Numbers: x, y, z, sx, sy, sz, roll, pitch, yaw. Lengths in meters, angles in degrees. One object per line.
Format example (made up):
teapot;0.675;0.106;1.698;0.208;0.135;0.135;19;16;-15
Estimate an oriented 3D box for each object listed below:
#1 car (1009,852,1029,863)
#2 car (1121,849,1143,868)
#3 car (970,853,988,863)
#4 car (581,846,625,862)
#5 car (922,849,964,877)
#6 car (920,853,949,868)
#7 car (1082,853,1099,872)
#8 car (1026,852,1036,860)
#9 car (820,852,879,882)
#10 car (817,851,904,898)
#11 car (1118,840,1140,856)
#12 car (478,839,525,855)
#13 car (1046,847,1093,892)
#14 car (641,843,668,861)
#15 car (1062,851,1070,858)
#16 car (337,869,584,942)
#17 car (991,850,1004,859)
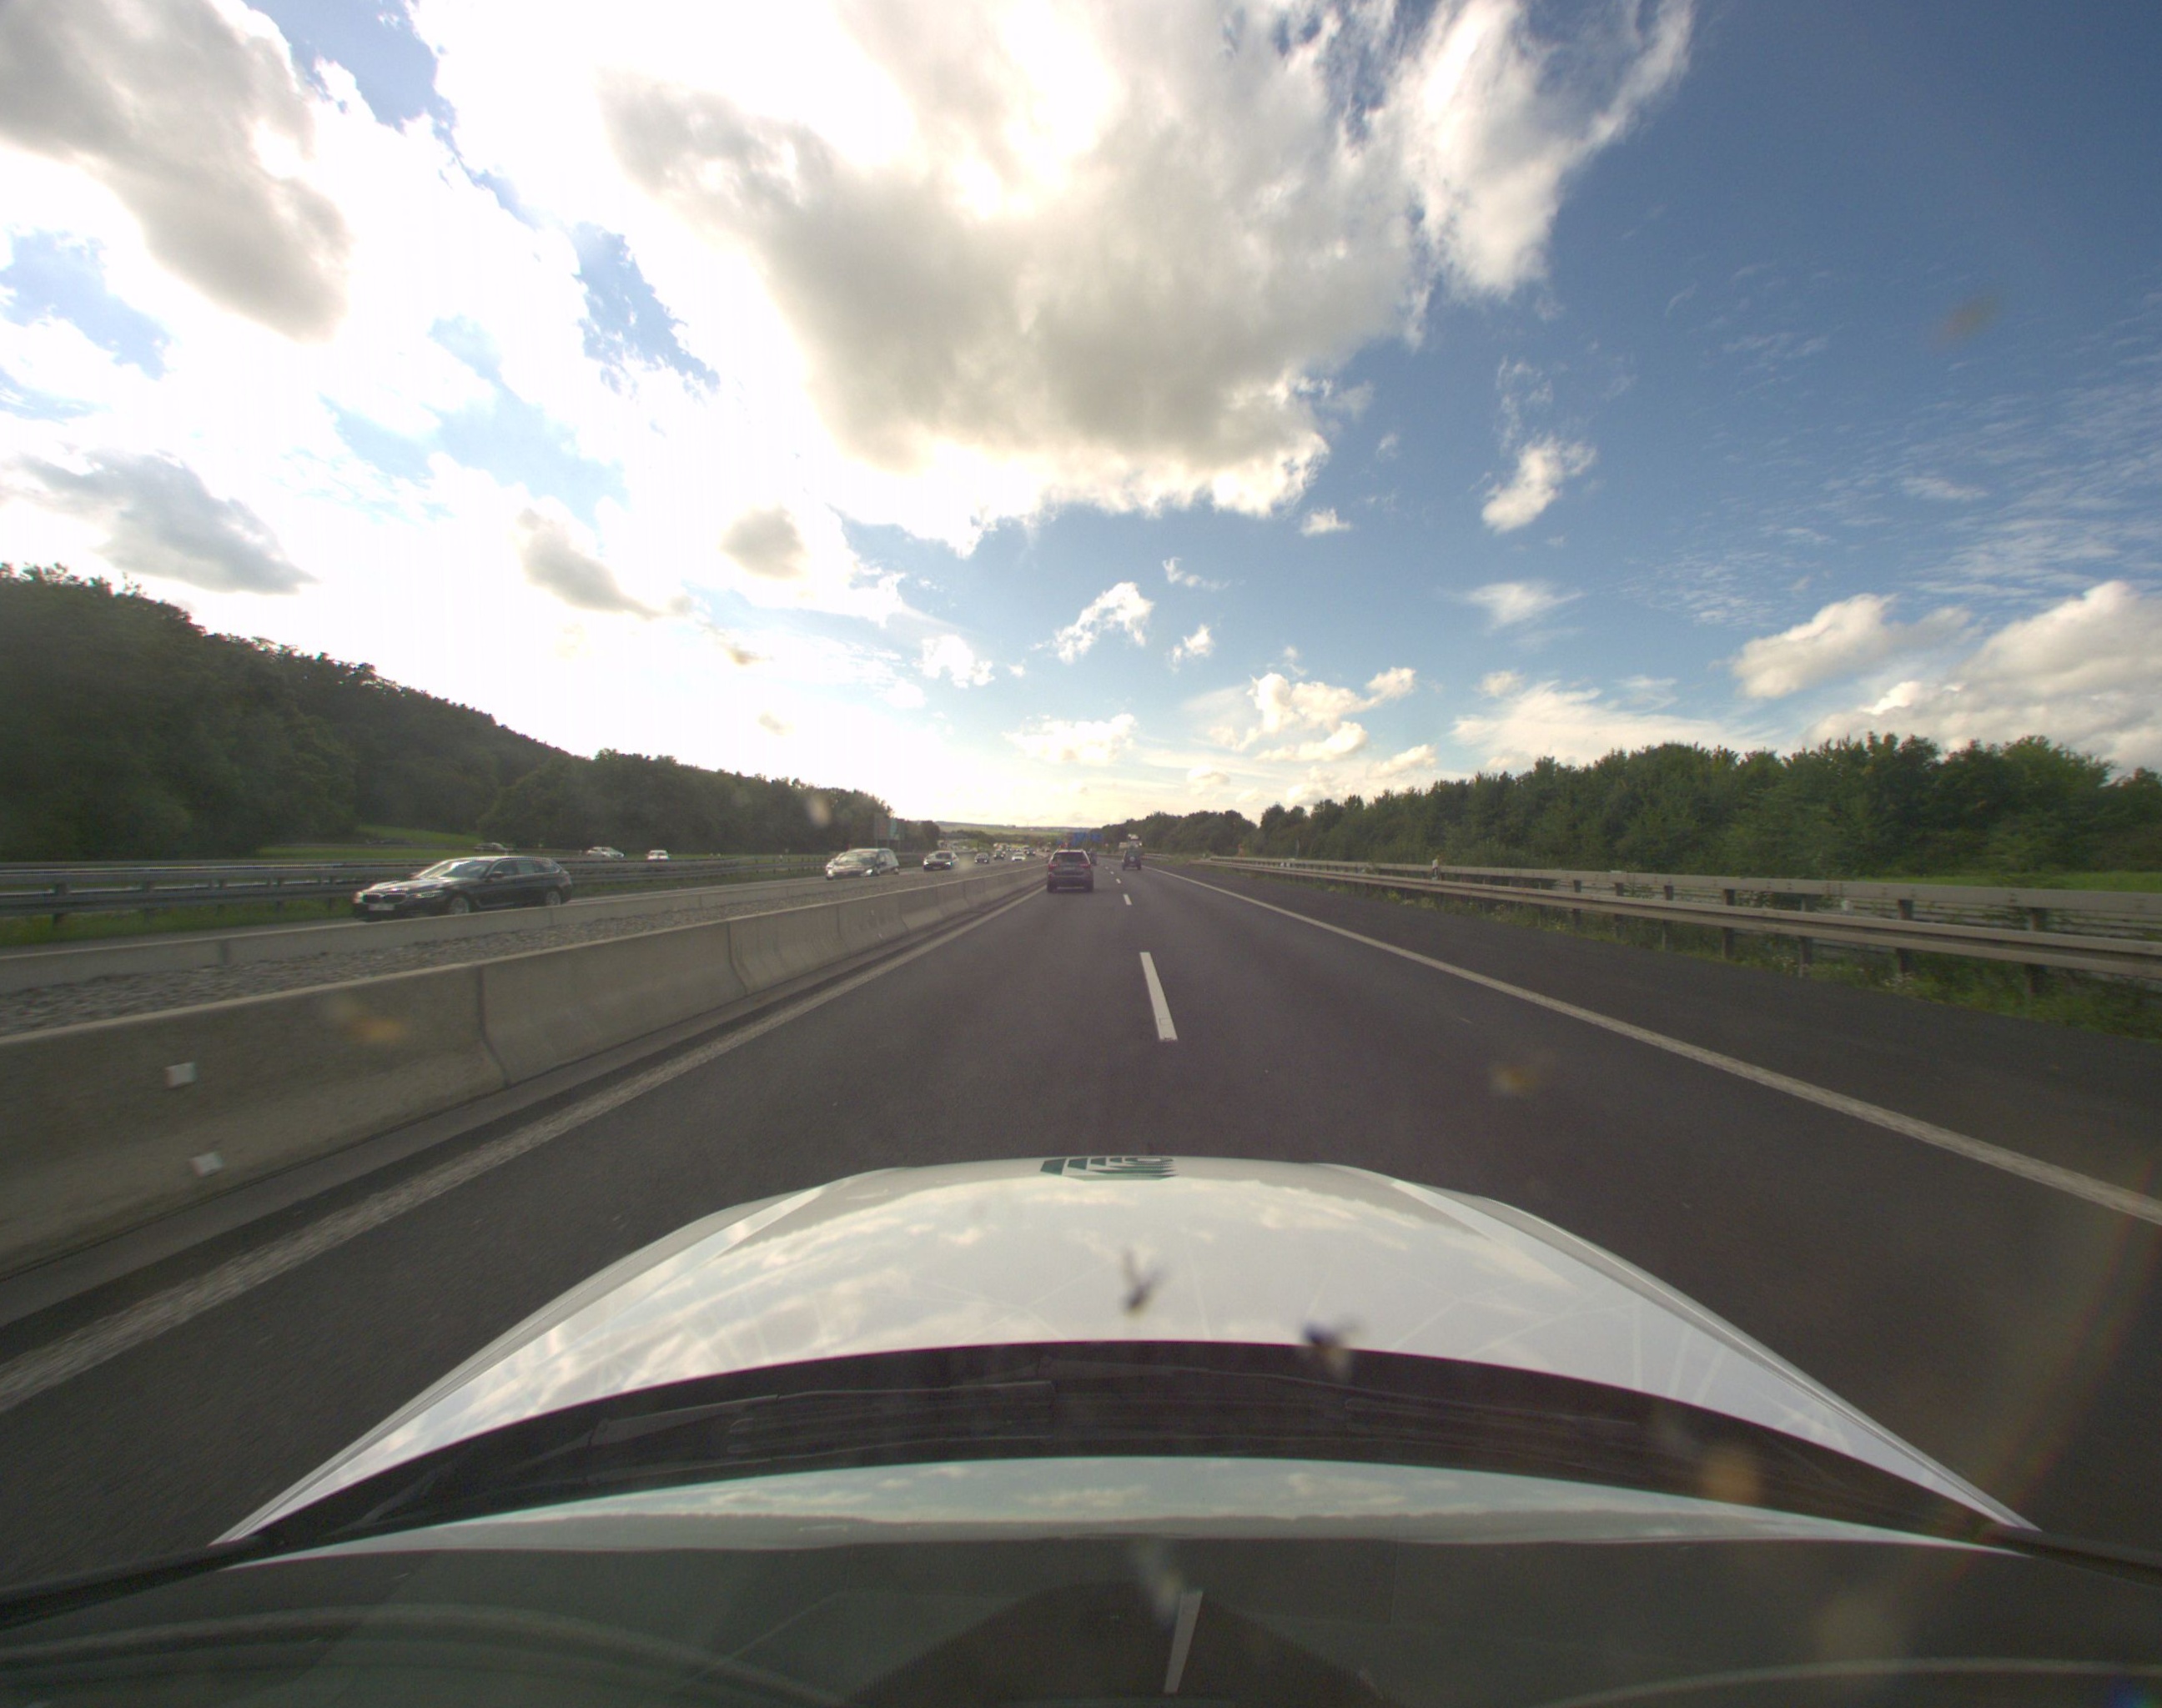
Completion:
car;-8.049;0.408;106.214;2.039;1.337;5.608;0;0;0
car;4.393;0.406;70.909;1.582;1.597;4.093;0;0;-1
car;-13.617;0.527;109.240;1.862;1.337;4.229;0;0;0
car;-50.637;-0.050;86.218;5.157;1.672;1.954;0;0;33
car;-9.244;0.565;54.975;1.879;1.785;4.954;0;0;1
car;-14.355;0.655;80.100;1.879;1.429;4.579;0;0;1
car;1.172;0.987;97.548;2.023;2.151;4.001;0;0;1
car;-11.925;0.479;193.129;1.987;1.920;5.148;0;0;0
car;-12.880;0.682;45.693;1.880;1.610;4.965;0;0;0
car;-8.651;0.759;32.486;1.878;1.703;4.970;0;0;3
car;13.517;-1.650;230.078;4.720;4.266;11.385;0;-1;-4
car;-66.768;-0.781;93.806;5.177;1.771;2.416;1;0;28
car;-0.412;0.637;34.750;1.811;1.736;5.187;0;-1;1
car;-36.047;-0.171;68.970;1.791;1.431;4.587;0;0;-25
car;-3.793;0.142;203.643;1.988;1.684;3.997;0;-1;-1
car;-14.153;1.098;19.050;1.986;1.402;4.814;0;0;1
car;-15.196;0.078;148.895;1.987;1.691;4.372;0;0;0
